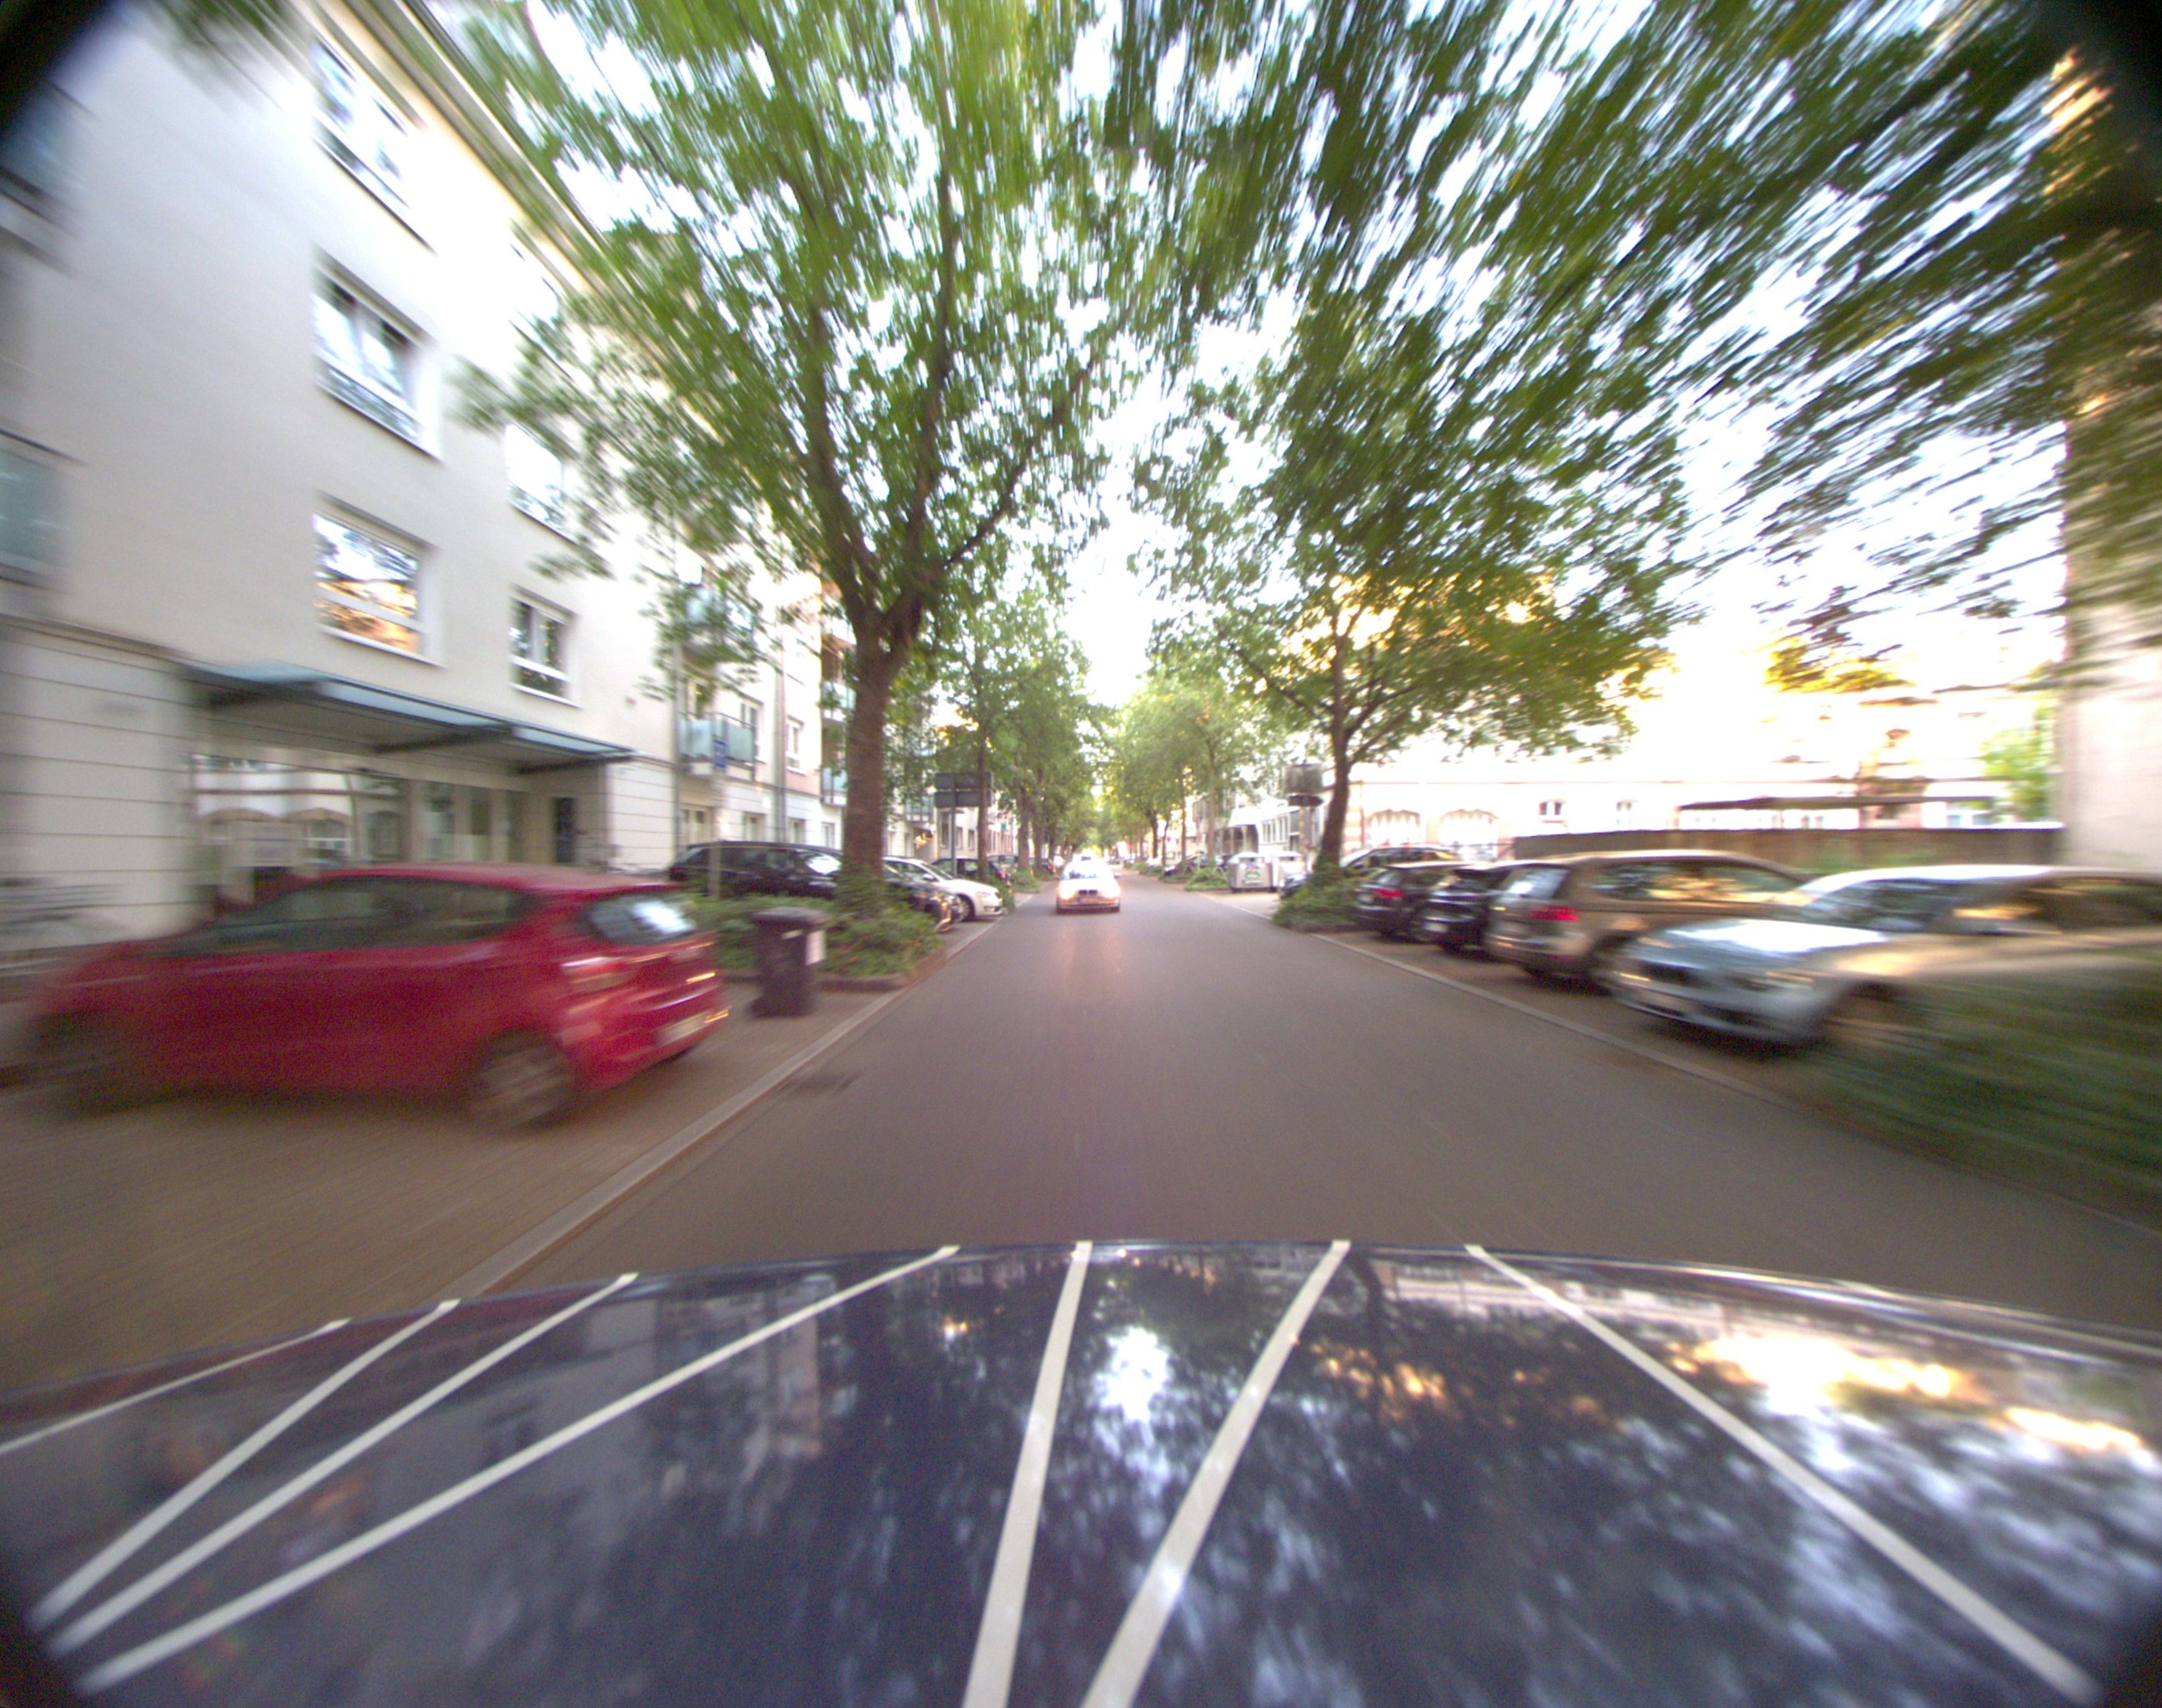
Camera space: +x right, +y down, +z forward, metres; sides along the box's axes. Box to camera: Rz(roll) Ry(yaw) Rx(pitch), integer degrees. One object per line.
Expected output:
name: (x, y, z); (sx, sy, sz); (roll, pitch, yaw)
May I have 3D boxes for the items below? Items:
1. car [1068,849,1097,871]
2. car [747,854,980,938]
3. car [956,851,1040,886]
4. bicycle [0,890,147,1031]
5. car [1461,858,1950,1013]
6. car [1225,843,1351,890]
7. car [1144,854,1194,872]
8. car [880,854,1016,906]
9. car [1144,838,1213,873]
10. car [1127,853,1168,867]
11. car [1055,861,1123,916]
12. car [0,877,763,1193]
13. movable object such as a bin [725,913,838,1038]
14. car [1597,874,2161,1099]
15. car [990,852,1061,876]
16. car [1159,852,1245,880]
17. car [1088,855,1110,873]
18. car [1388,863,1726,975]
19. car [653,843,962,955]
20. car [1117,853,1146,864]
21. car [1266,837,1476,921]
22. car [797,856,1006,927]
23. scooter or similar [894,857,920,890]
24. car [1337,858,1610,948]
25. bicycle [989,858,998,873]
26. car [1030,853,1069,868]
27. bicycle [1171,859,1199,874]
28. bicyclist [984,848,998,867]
car: (0.150, 0.473, 60.573); (1.892, 1.635, 4.001); (-2, 0, 5)
car: (-4.430, 0.825, 15.925); (4.233, 1.430, 1.930); (3, 0, 3)
car: (-4.151, 0.720, 38.578); (3.979, 1.576, 1.916); (2, 0, 0)
bicycle: (-8.494, 0.838, 5.785); (0.425, 1.031, 1.882); (1, 0, 1)
car: (6.888, 0.856, 8.834); (3.995, 1.556, 1.930); (-1, 0, 6)
car: (8.271, 0.499, 30.608); (4.516, 1.761, 2.000); (-1, 0, -1)
car: (7.682, 0.772, 66.714); (4.178, 1.460, 1.953); (-1, 0, 1)
car: (-4.180, 0.820, 24.527); (4.095, 1.443, 1.934); (3, 0, -5)
car: (7.474, 0.099, 58.474); (5.016, 2.558, 2.121); (-1, 0, 1)
car: (7.653, 0.660, 87.463); (4.520, 1.517, 1.872); (-1, 0, 0)
car: (0.154, 0.921, 21.861); (1.737, 1.363, 4.332); (-1, 0, -2)
car: (-4.362, 0.977, 4.911); (3.786, 1.535, 1.877); (-1, 0, -1)
movable object such as a bin: (-2.905, 1.160, 7.449); (0.762, 1.078, 0.785); (1, 0, 2)
car: (6.905, 0.923, 6.061); (4.298, 1.421, 1.879); (-1, 0, 1)
car: (-3.761, 0.656, 51.772); (4.468, 1.419, 2.012); (2, 1, 5)
car: (7.262, 0.697, 46.066); (4.864, 1.612, 2.160); (-1, 0, 1)
car: (1.943, 1.031, 79.629); (1.998, 1.838, 4.001); (-2, 0, 5)
car: (7.021, 0.908, 11.498); (3.997, 1.482, 1.825); (-1, 0, -2)
car: (-4.575, 0.741, 13.333); (4.655, 1.608, 2.009); (3, 0, -3)
car: (8.158, 0.691, 122.594); (4.601, 1.725, 2.142); (-1, 0, 6)
car: (7.163, 0.592, 19.098); (4.516, 1.944, 2.000); (-1, 0, -1)
car: (-4.242, 0.872, 18.501); (4.611, 1.459, 1.796); (2, 0, 0)
scooter or similar: (-6.688, 0.719, 29.182); (0.656, 1.196, 1.454); (3, 0, -2)
car: (7.004, 0.837, 13.880); (3.997, 1.455, 1.922); (-1, 0, -1)
bicycle: (-7.178, 0.898, 62.098); (0.622, 1.157, 3.399); (0, 0, -5)
car: (-3.373, 0.695, 80.913); (4.093, 1.482, 1.798); (-1, 0, -2)
bicycle: (5.988, 0.721, 43.956); (1.556, 0.826, 0.613); (-1, 1, 4)
bicyclist: (-7.326, 0.286, 62.048); (0.973, 1.595, 1.136); (-1, 1, -2)
